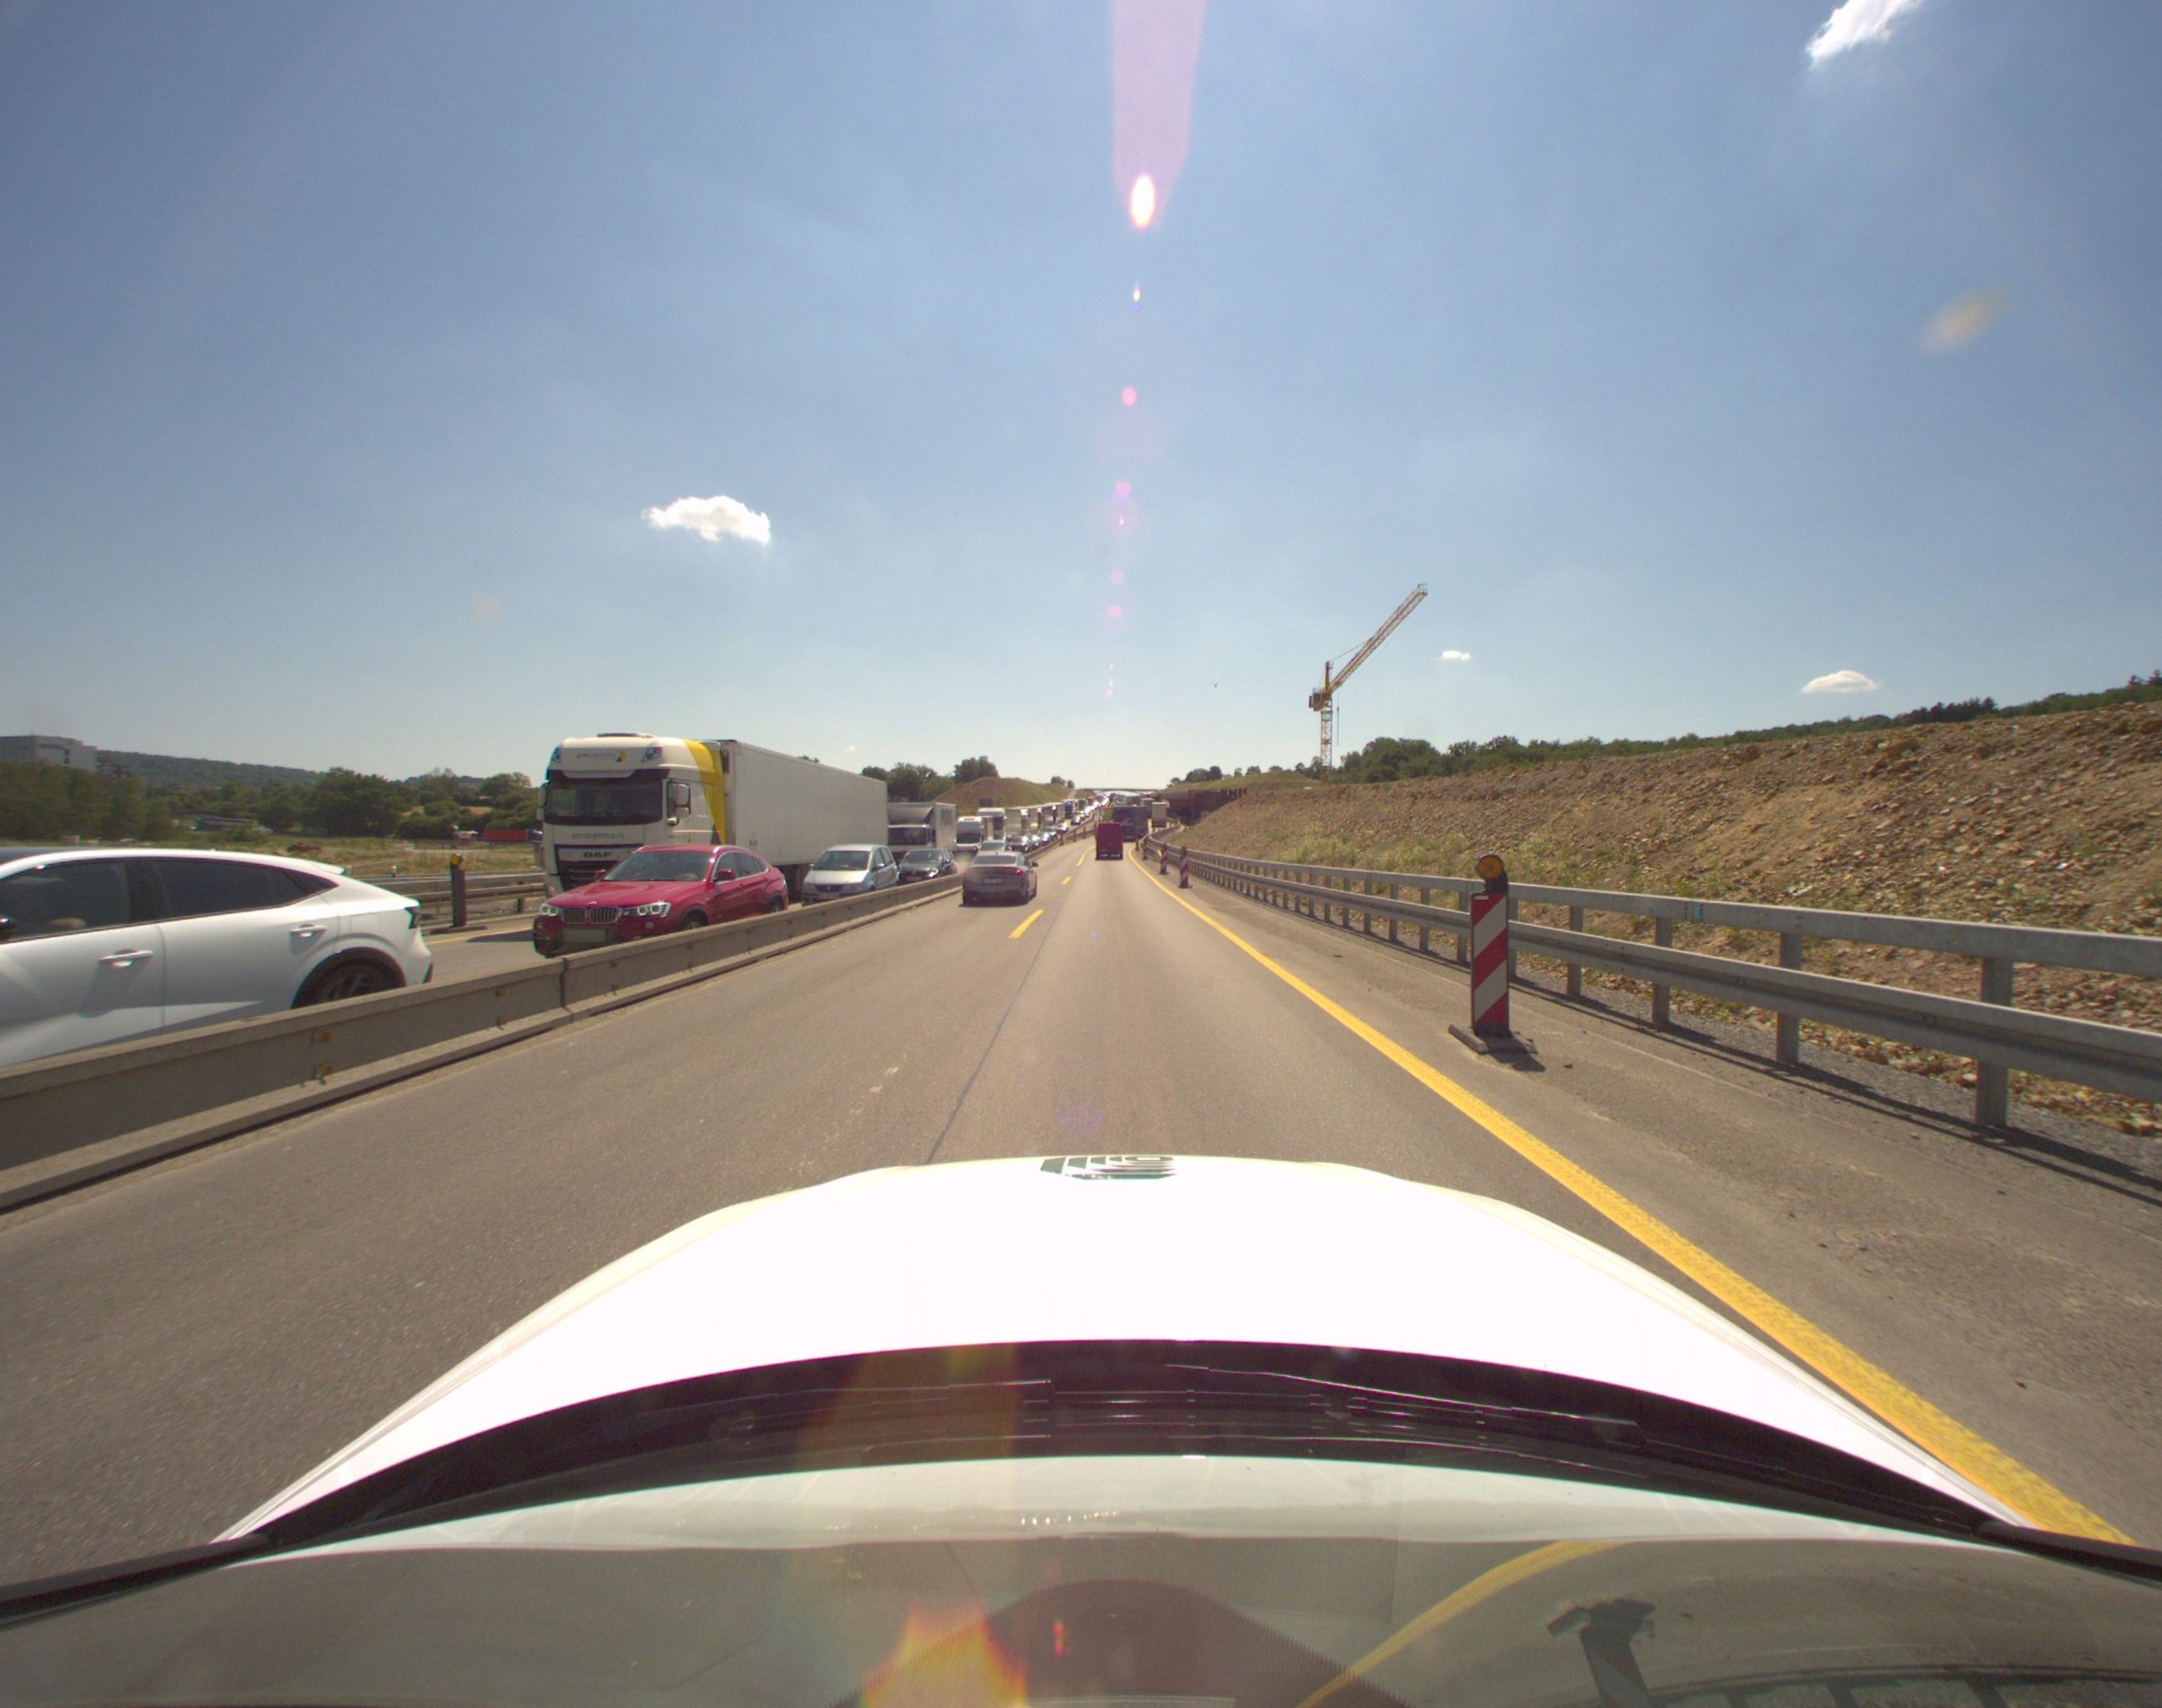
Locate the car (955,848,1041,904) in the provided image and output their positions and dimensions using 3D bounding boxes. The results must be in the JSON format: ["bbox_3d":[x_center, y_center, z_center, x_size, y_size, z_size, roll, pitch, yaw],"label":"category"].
[{"bbox_3d":[-2.277,0.552,23.496,1.845,1.452,4.744,0,1,2],"label":"car"}]

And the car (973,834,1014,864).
[{"bbox_3d":[-5.206,-0.301,49.127,1.820,1.651,4.548,2,1,1],"label":"car"}]

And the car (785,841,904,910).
[{"bbox_3d":[-5.927,0.487,20.916,1.820,1.574,4.001,-1,0,1],"label":"car"}]

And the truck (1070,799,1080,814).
[{"bbox_3d":[-1.647,-13.011,224.075,2.879,3.838,8.001,-1,1,0],"label":"truck"}]

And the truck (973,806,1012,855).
[{"bbox_3d":[-7.869,-2.109,73.303,2.541,4.230,6.534,-1,2,2],"label":"truck"}]

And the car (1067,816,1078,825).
[{"bbox_3d":[-1.558,-6.190,149.190,1.945,1.530,4.269,0,1,2],"label":"car"}]

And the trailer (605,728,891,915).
[{"bbox_3d":[-9.112,-0.816,25.296,2.976,4.208,13.948,0,1,1],"label":"trailer"}]

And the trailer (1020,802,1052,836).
[{"bbox_3d":[-6.306,-4.999,117.394,3.029,4.551,12.143,0,2,4],"label":"trailer"}]

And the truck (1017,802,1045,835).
[{"bbox_3d":[-6.794,-4.827,111.474,3.040,4.480,5.985,0,2,3],"label":"truck"}]

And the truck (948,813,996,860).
[{"bbox_3d":[-7.803,-1.301,58.891,2.426,3.147,7.024,-1,2,0],"label":"truck"}]

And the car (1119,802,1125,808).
[{"bbox_3d":[12.856,-15.463,255.772,1.945,1.640,4.269,0,1,2],"label":"car"}]

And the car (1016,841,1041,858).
[{"bbox_3d":[-4.855,-0.432,76.229,1.896,1.376,4.548,-3,2,1],"label":"car"}]

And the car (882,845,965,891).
[{"bbox_3d":[-5.654,0.476,29.856,1.985,1.557,4.342,-1,0,3],"label":"car"}]

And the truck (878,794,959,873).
[{"bbox_3d":[-8.596,-1.090,44.182,2.516,3.855,8.673,0,1,1],"label":"truck"}]

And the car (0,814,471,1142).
[{"bbox_3d":[-6.338,0.619,4.647,1.987,1.620,4.882,-1,0,0],"label":"car"}]

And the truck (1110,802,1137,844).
[{"bbox_3d":[5.039,-3.672,97.001,3.008,4.692,6.937,-2,1,2],"label":"truck"}]

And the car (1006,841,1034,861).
[{"bbox_3d":[-4.899,-0.230,65.980,1.820,1.535,4.548,-1,0,1],"label":"car"}]

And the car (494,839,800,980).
[{"bbox_3d":[-6.056,0.629,12.208,1.987,1.631,4.759,1,2,1],"label":"car"}]

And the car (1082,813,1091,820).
[{"bbox_3d":[1.195,-8.467,185.639,1.945,1.530,4.269,0,1,2],"label":"car"}]

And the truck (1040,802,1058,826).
[{"bbox_3d":[-5.273,-6.654,135.534,2.675,3.838,7.385,-1,1,0],"label":"truck"}]

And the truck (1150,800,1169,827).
[{"bbox_3d":[13.432,-6.829,138.977,3.022,4.100,7.099,-1,0,7],"label":"truck"}]

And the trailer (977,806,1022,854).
[{"bbox_3d":[-7.735,-2.277,78.863,2.585,4.256,12.475,0,1,2],"label":"trailer"}]

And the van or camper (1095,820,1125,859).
[{"bbox_3d":[2.084,-1.059,59.726,2.023,2.744,4.515,0,1,0],"label":"van or camper"}]

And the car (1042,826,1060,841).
[{"bbox_3d":[-3.567,-2.443,98.373,1.987,1.782,4.001,0,1,0],"label":"car"}]

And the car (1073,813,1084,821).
[{"bbox_3d":[-0.518,-7.651,168.624,1.945,1.530,4.269,0,1,2],"label":"car"}]

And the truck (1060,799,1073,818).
[{"bbox_3d":[-3.264,-10.185,182.923,2.879,3.838,8.001,-1,1,0],"label":"truck"}]

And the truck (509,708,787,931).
[{"bbox_3d":[-9.217,-0.676,18.277,2.966,4.184,5.876,0,1,1],"label":"truck"}]

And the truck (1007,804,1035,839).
[{"bbox_3d":[-6.939,-3.714,94.974,2.773,3.869,5.461,-1,0,0],"label":"truck"}]

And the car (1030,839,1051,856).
[{"bbox_3d":[-4.307,-0.652,86.250,1.987,1.783,4.000,0,-1,0],"label":"car"}]

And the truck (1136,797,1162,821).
[{"bbox_3d":[15.551,-10.157,186.062,5.132,4.996,13.906,-2,1,7],"label":"truck"}]

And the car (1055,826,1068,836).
[{"bbox_3d":[-2.820,-3.326,118.554,1.740,1.409,4.002,0,1,2],"label":"car"}]
